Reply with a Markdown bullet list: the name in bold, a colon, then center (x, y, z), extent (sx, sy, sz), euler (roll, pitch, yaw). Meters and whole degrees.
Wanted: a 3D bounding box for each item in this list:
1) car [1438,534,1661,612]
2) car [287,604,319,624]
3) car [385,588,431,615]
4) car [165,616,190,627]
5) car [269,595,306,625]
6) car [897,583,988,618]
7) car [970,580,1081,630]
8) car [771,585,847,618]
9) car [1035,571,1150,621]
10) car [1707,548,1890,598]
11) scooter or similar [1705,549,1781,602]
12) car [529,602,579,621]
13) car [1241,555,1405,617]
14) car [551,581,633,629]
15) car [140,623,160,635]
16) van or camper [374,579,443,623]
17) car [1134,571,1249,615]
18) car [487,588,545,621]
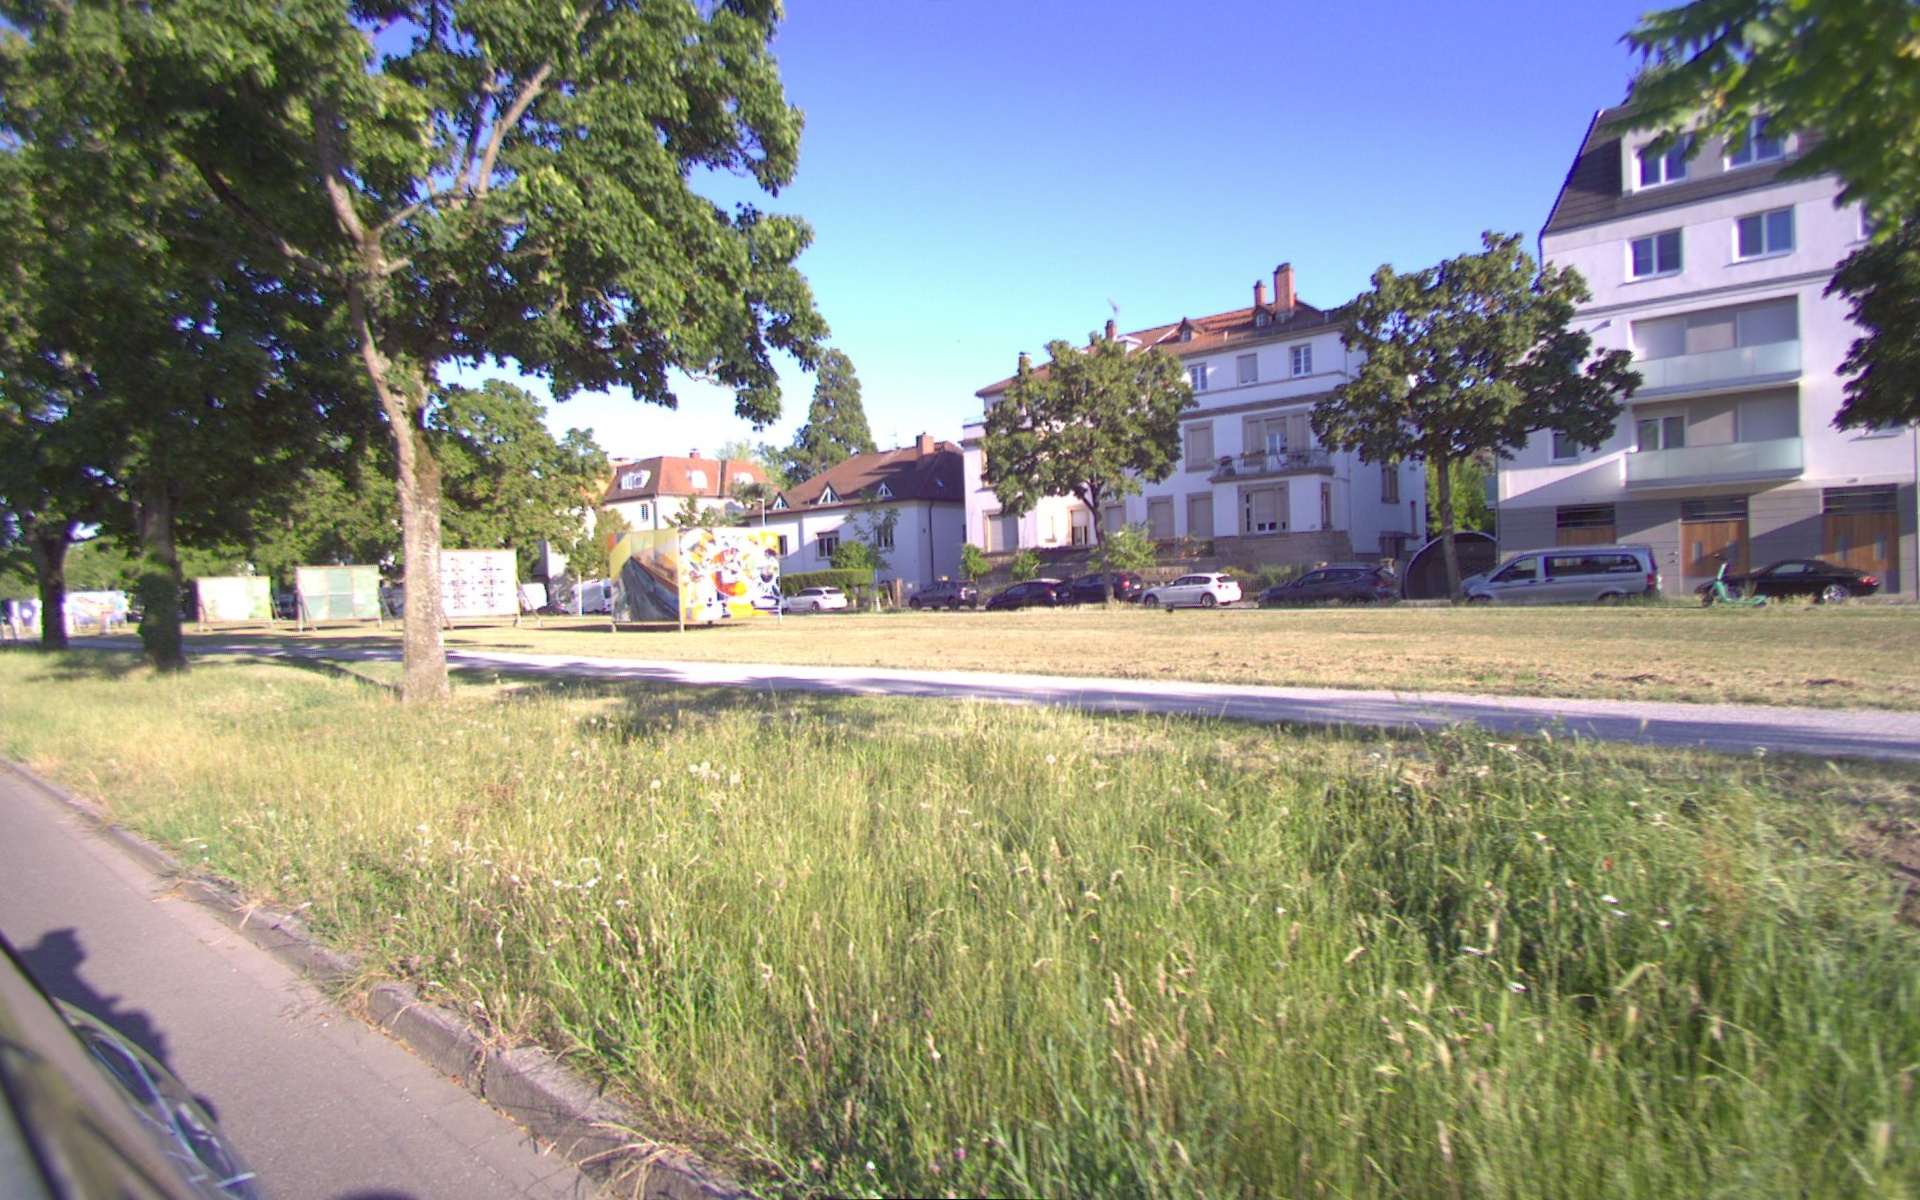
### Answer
- **car**: center (16.878, -0.699, 29.124), extent (5.363, 2.016, 2.000), euler (0, -2, 38)
- **car**: center (-75.077, 1.628, 115.607), extent (3.998, 2.170, 1.973), euler (-2, 1, 42)
- **car**: center (-44.902, 0.135, 82.292), extent (3.998, 2.028, 1.973), euler (-2, 1, 42)
- **car**: center (-119.578, 3.304, 154.659), extent (3.992, 1.510, 1.976), euler (-3, 0, 36)
- **car**: center (-79.783, 1.188, 120.064), extent (6.071, 3.274, 1.973), euler (-3, 0, 41)
- **car**: center (-0.938, 0.063, 52.112), extent (4.664, 1.715, 1.763), euler (0, -2, 41)
- **car**: center (2.663, 0.217, 41.683), extent (4.325, 1.931, 1.870), euler (0, -2, 41)
- **car**: center (-8.813, 0.107, 58.954), extent (4.711, 1.868, 1.712), euler (0, -2, 41)
- **car**: center (6.031, -0.134, 46.424), extent (4.852, 2.147, 2.214), euler (0, -2, 42)
- **car**: center (24.808, -0.787, 30.022), extent (4.063, 1.287, 1.972), euler (-1, 1, 44)
- **scooter or similar**: center (17.538, -0.550, 22.679), extent (1.293, 1.135, 0.389), euler (-1, 2, 33)
- **car**: center (-31.723, 0.895, 78.978), extent (4.563, 1.413, 1.971), euler (-1, -2, 45)
- **car**: center (11.807, -0.405, 33.069), extent (4.689, 1.842, 1.908), euler (0, -2, 41)
- **car**: center (-23.130, 0.329, 63.509), extent (5.868, 2.847, 2.237), euler (0, -2, 41)
- **car**: center (-113.881, 4.091, 142.313), extent (1.868, 1.534, 3.683), euler (-2, 0, -44)
- **van or camper**: center (-44.902, 0.135, 82.292), extent (6.901, 3.287, 2.614), euler (-2, 1, 42)
- **car**: center (9.781, -0.256, 42.966), extent (4.458, 1.757, 1.802), euler (0, -2, 42)
- **car**: center (-36.792, 0.364, 83.742), extent (6.087, 2.617, 1.973), euler (0, -2, 41)
